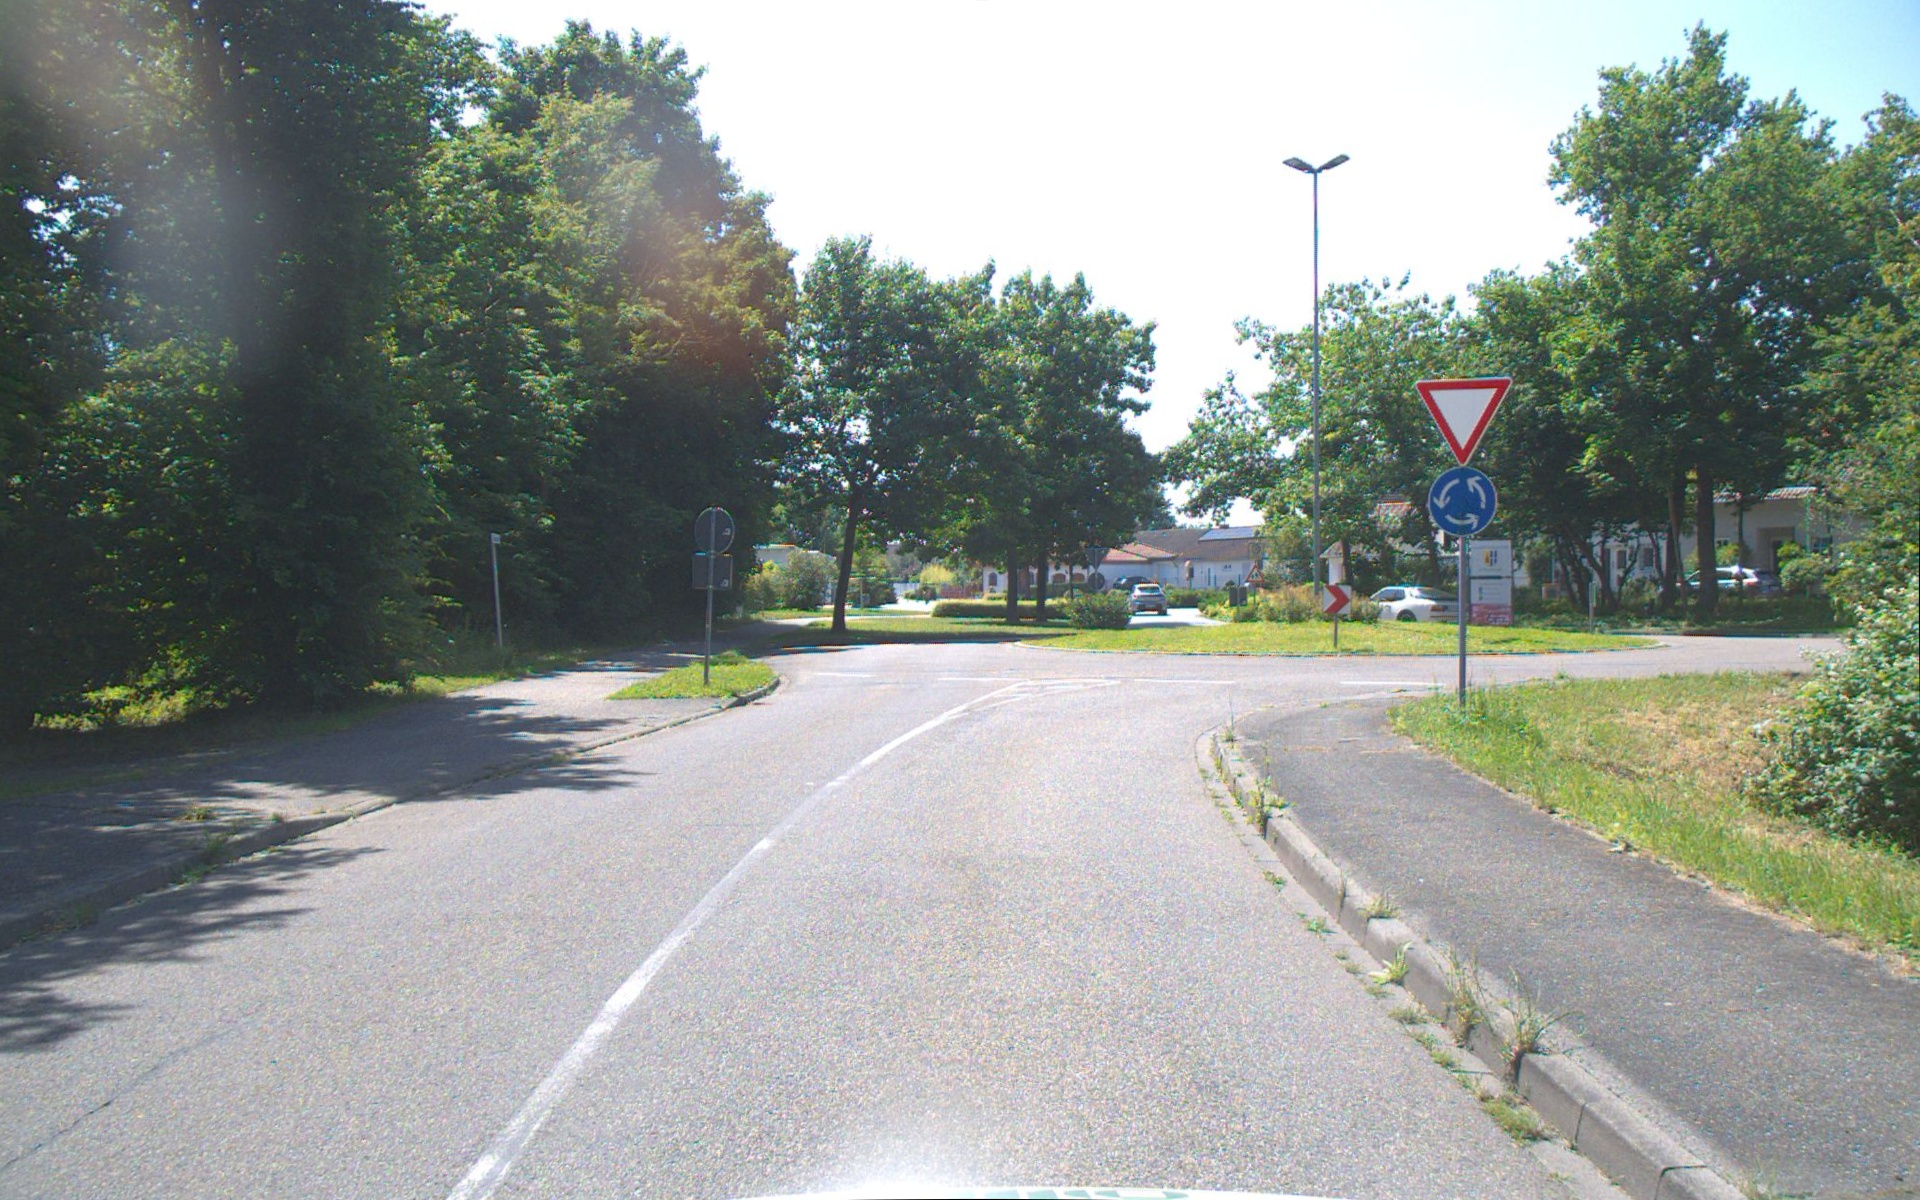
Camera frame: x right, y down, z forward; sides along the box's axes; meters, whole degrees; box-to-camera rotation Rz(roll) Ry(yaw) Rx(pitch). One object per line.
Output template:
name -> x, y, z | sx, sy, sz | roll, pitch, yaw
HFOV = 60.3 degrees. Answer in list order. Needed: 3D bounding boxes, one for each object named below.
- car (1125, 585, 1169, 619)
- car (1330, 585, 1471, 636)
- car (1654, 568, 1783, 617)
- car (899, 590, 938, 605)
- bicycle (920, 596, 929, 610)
car -> 8.833, 0.086, 78.322 | 1.595, 1.512, 4.000 | -1, 1, 0
car -> 11.941, 0.271, 44.963 | 1.601, 1.311, 3.512 | -1, 0, -35
car -> 27.863, -0.278, 60.836 | 1.646, 1.735, 4.095 | -1, 0, -33
car -> -3.837, -0.224, 153.005 | 1.973, 1.310, 3.959 | -1, 0, -30
bicycle -> -2.489, 0.189, 116.784 | 0.585, 0.945, 1.619 | -1, 0, -2
